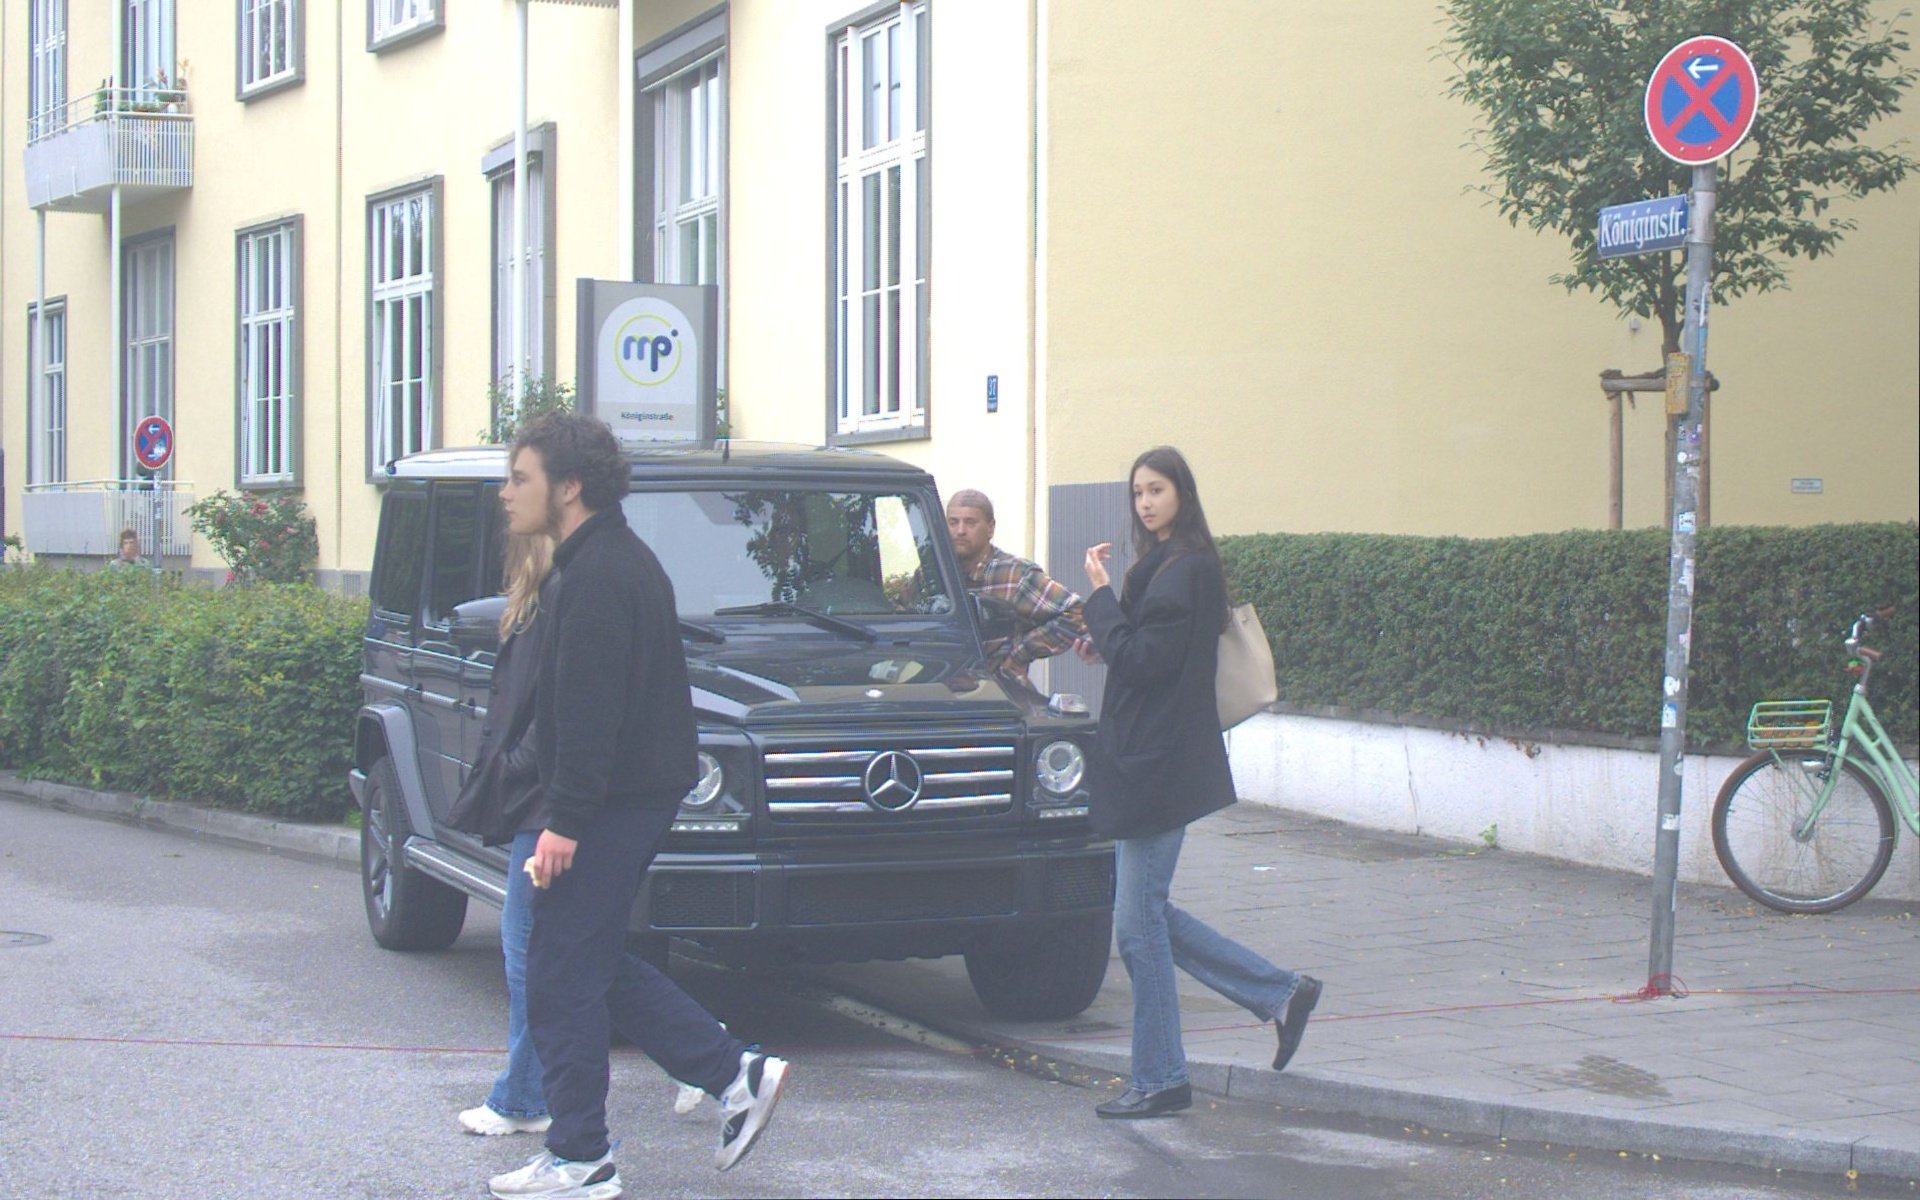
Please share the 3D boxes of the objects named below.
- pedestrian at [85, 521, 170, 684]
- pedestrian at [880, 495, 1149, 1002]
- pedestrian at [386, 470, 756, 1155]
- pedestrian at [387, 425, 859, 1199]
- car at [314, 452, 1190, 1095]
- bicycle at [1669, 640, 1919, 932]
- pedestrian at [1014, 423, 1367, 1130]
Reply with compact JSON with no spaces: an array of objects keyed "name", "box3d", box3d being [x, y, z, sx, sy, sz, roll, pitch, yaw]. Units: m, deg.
[{"name":"pedestrian","box3d":[-8.735,0.022,36.069,0.631,1.678,0.698,-2,1,-33]},{"name":"pedestrian","box3d":[0.181,0.503,12.438,0.848,1.751,0.954,-1,1,-6]},{"name":"pedestrian","box3d":[-1.015,0.532,9.132,0.826,1.740,0.740,0,1,6]},{"name":"pedestrian","box3d":[-0.775,0.506,8.115,0.990,1.803,0.659,0,1,5]},{"name":"car","box3d":[-0.988,0.458,12.541,1.873,1.881,4.620,-1,1,-21]},{"name":"bicycle","box3d":[3.721,0.694,13.037,1.947,1.081,0.528,-2,-1,36]},{"name":"pedestrian","box3d":[0.617,0.462,9.492,0.850,1.851,0.767,-1,1,-3]}]
